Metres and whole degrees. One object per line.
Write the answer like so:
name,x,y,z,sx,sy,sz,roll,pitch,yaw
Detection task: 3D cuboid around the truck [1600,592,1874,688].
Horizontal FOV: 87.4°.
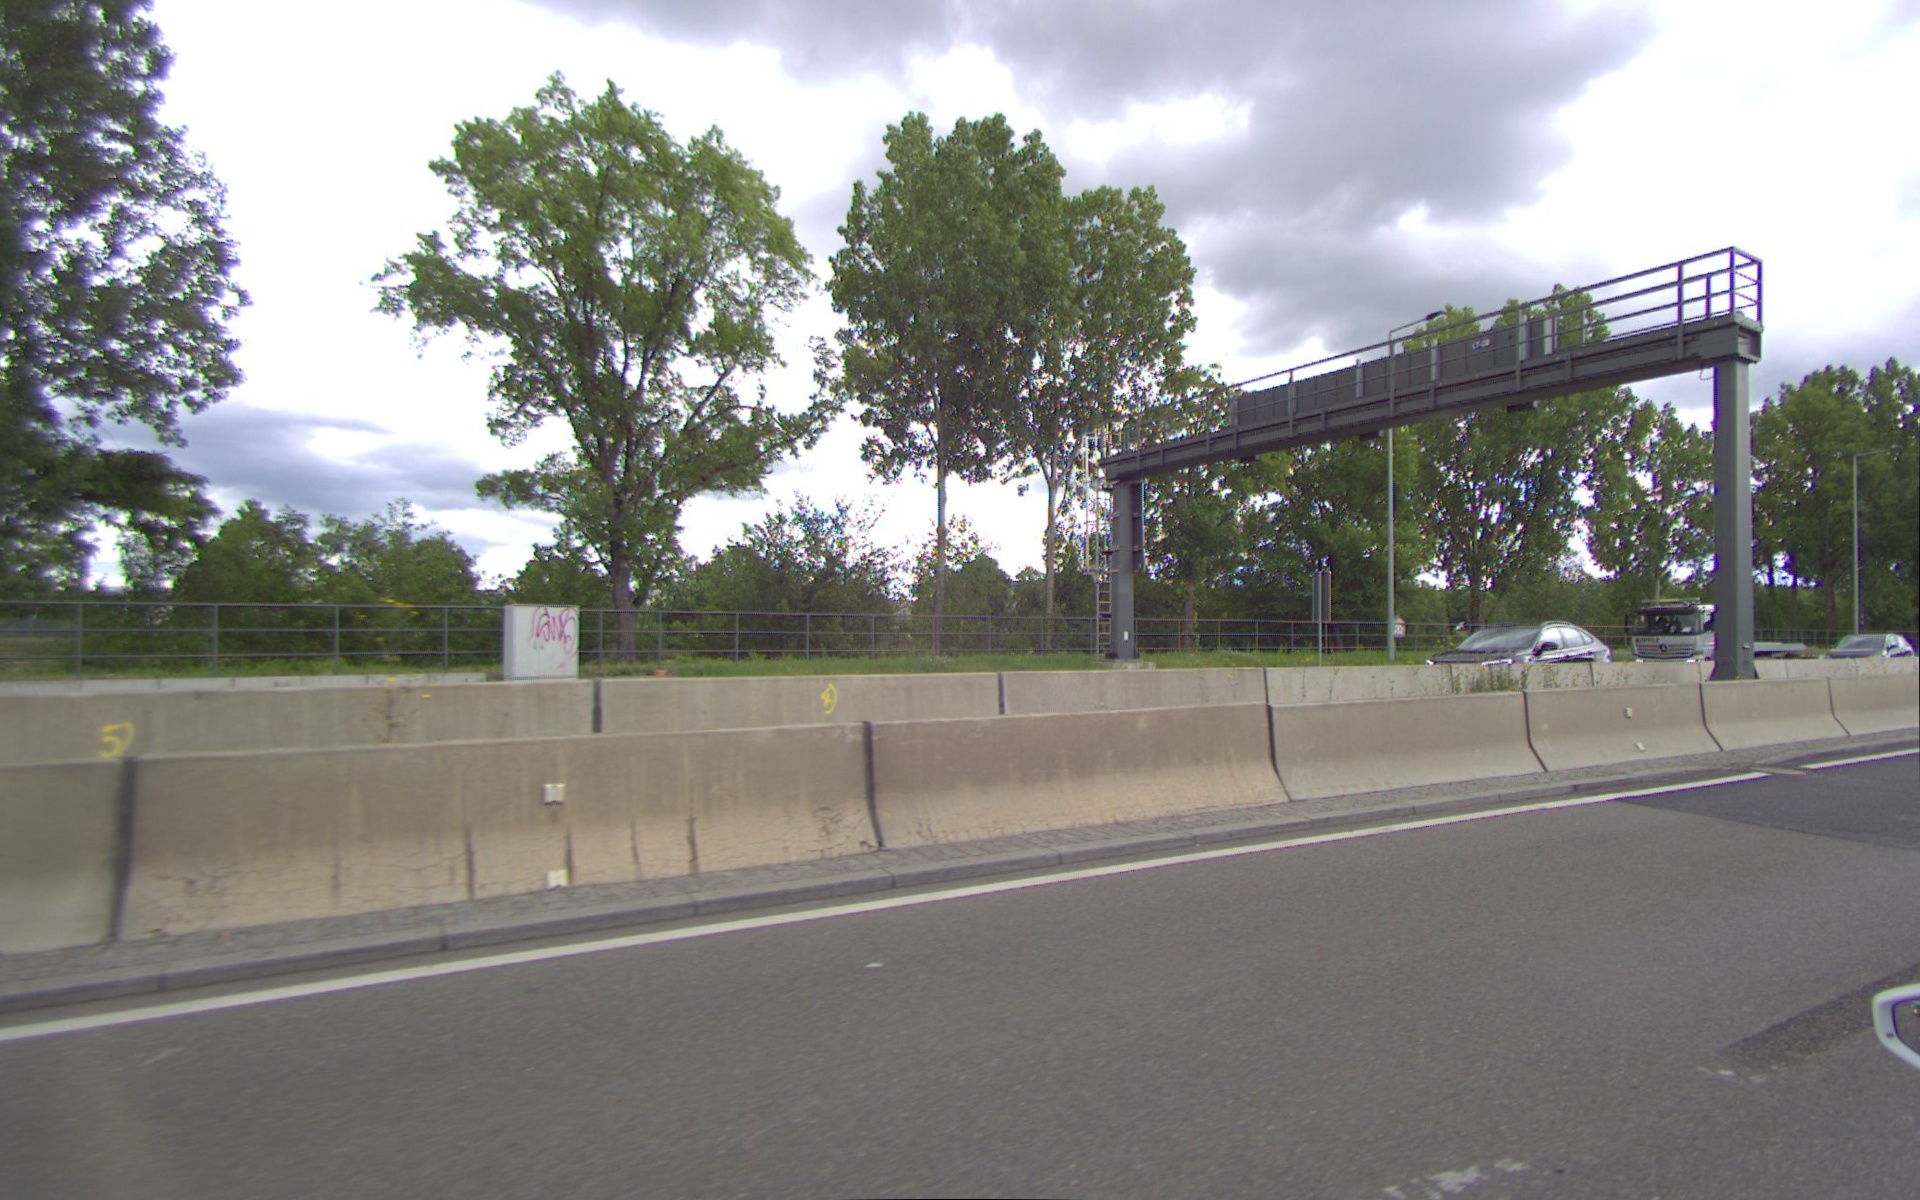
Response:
truck,30.164,1.426,38.497,15.704,3.149,2.839,1,1,-31

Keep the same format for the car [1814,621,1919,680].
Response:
car,32.237,1.744,35.559,4.052,1.902,1.808,1,1,-30

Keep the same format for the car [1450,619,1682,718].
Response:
car,11.622,1.227,19.215,4.402,1.639,1.917,1,1,-30
